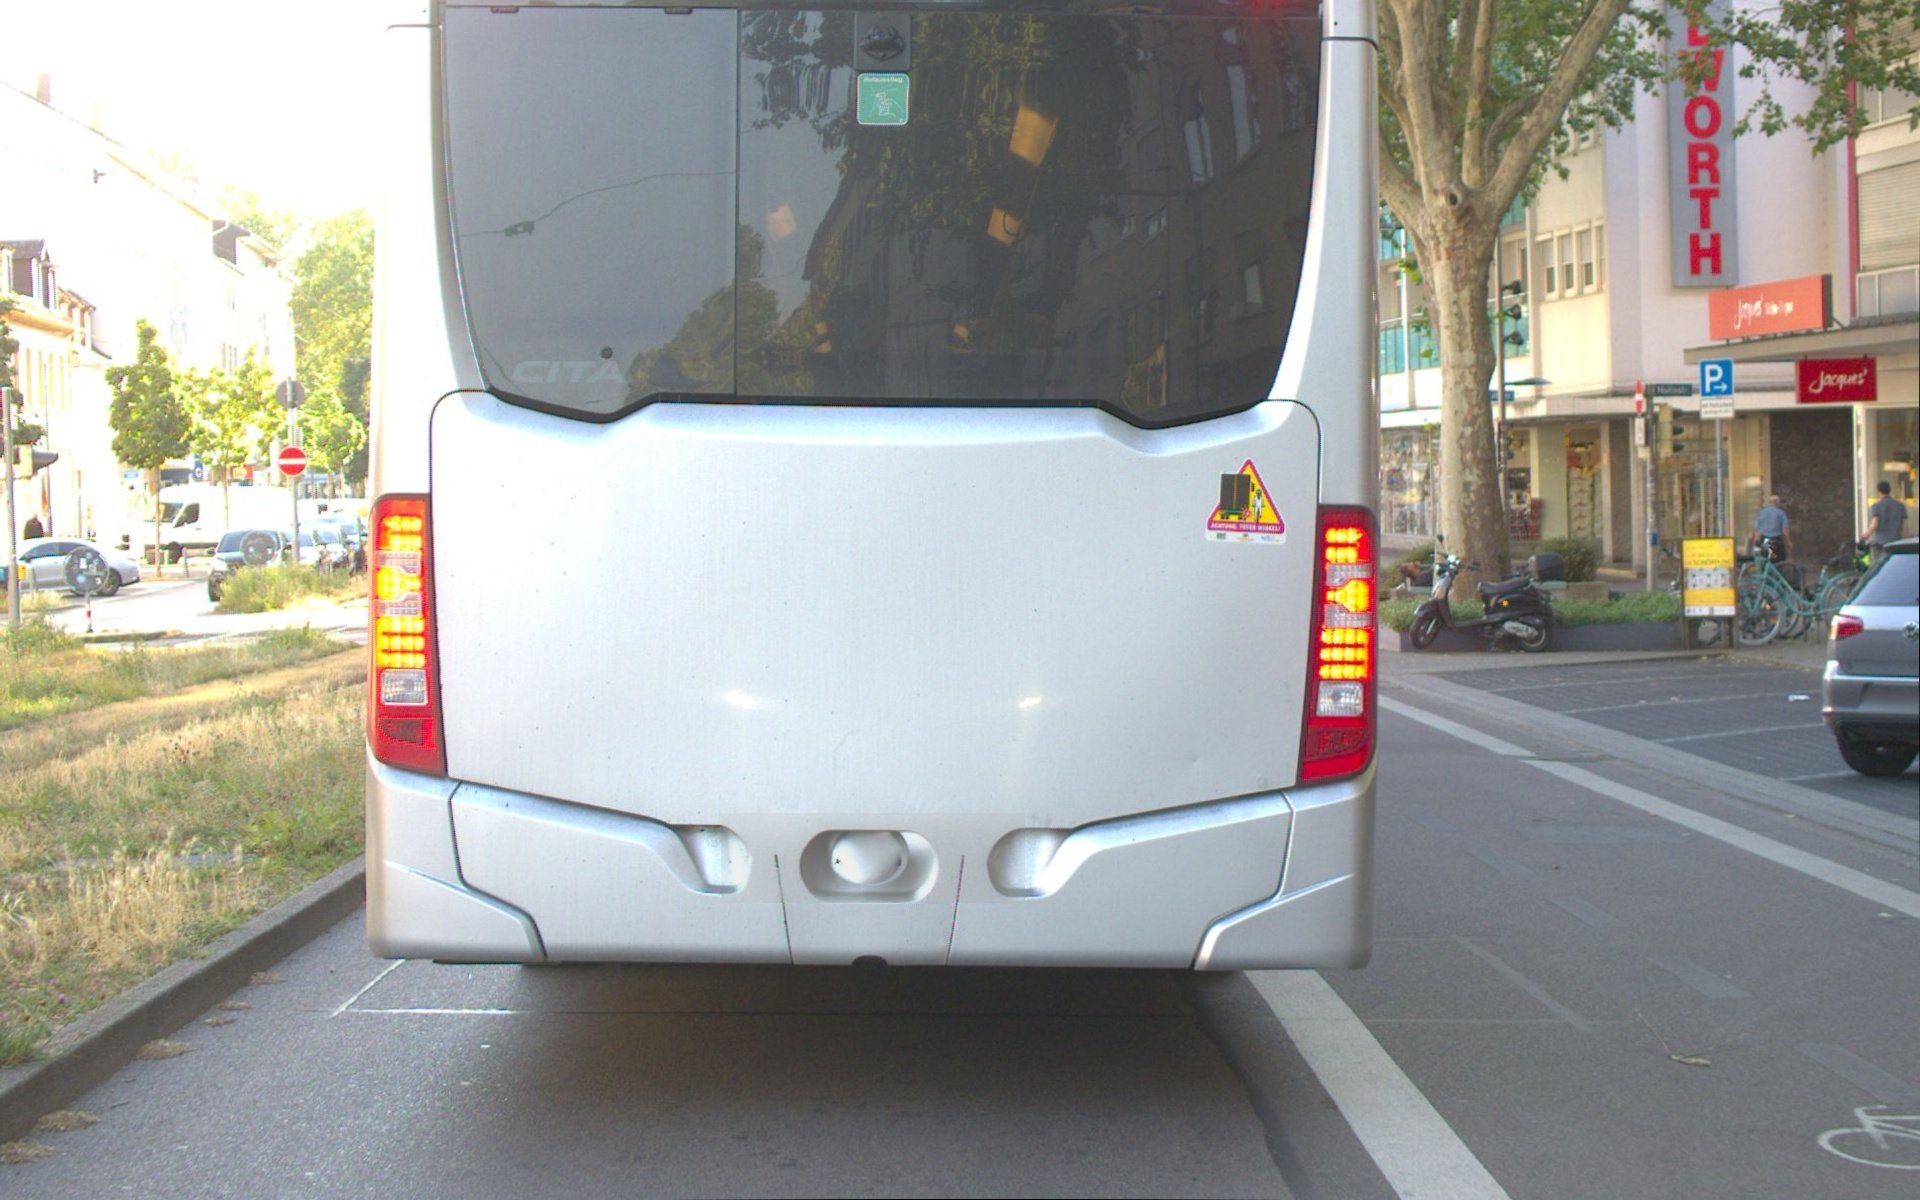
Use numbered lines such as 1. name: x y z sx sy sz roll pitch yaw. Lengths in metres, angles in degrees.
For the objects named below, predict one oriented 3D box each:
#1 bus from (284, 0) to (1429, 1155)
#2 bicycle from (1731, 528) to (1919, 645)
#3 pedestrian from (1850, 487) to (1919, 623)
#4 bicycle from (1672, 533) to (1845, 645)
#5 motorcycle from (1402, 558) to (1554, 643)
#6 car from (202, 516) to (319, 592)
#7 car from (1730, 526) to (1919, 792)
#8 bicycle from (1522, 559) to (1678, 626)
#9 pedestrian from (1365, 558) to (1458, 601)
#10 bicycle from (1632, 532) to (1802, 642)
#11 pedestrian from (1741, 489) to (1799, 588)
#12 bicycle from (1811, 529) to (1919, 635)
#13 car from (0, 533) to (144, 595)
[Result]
1. bus: -0.214 -0.340 11.630 2.678 3.072 7.114 0 2 1
2. bicycle: 9.864 -0.159 38.929 2.081 1.228 0.831 -2 1 5
3. pedestrian: 12.352 -0.605 45.794 0.780 1.787 0.764 -1 1 0
4. bicycle: 9.385 -0.130 40.433 1.785 1.185 0.672 -4 1 -8
5. motorcycle: 5.742 0.004 38.127 1.570 0.889 0.544 -2 1 -3
6. car: -15.151 -1.010 74.619 1.722 1.504 3.476 -4 1 1
7. car: 6.669 0.268 20.485 4.165 1.446 1.809 -2 2 -38
8. bicycle: 7.965 -0.095 42.856 1.877 0.762 0.711 -1 3 8
9. pedestrian: 6.445 -0.293 49.112 1.254 0.587 0.482 -1 1 -2
10. bicycle: 9.101 -0.156 41.364 1.877 1.185 0.711 -4 1 8
11. pedestrian: 14.198 -1.084 60.304 0.747 1.673 0.835 -1 3 -6
12. bicycle: 10.701 -0.222 39.350 1.765 1.150 0.678 -2 1 9
13. car: -22.145 -0.861 82.488 4.538 1.407 2.000 -2 2 -36
